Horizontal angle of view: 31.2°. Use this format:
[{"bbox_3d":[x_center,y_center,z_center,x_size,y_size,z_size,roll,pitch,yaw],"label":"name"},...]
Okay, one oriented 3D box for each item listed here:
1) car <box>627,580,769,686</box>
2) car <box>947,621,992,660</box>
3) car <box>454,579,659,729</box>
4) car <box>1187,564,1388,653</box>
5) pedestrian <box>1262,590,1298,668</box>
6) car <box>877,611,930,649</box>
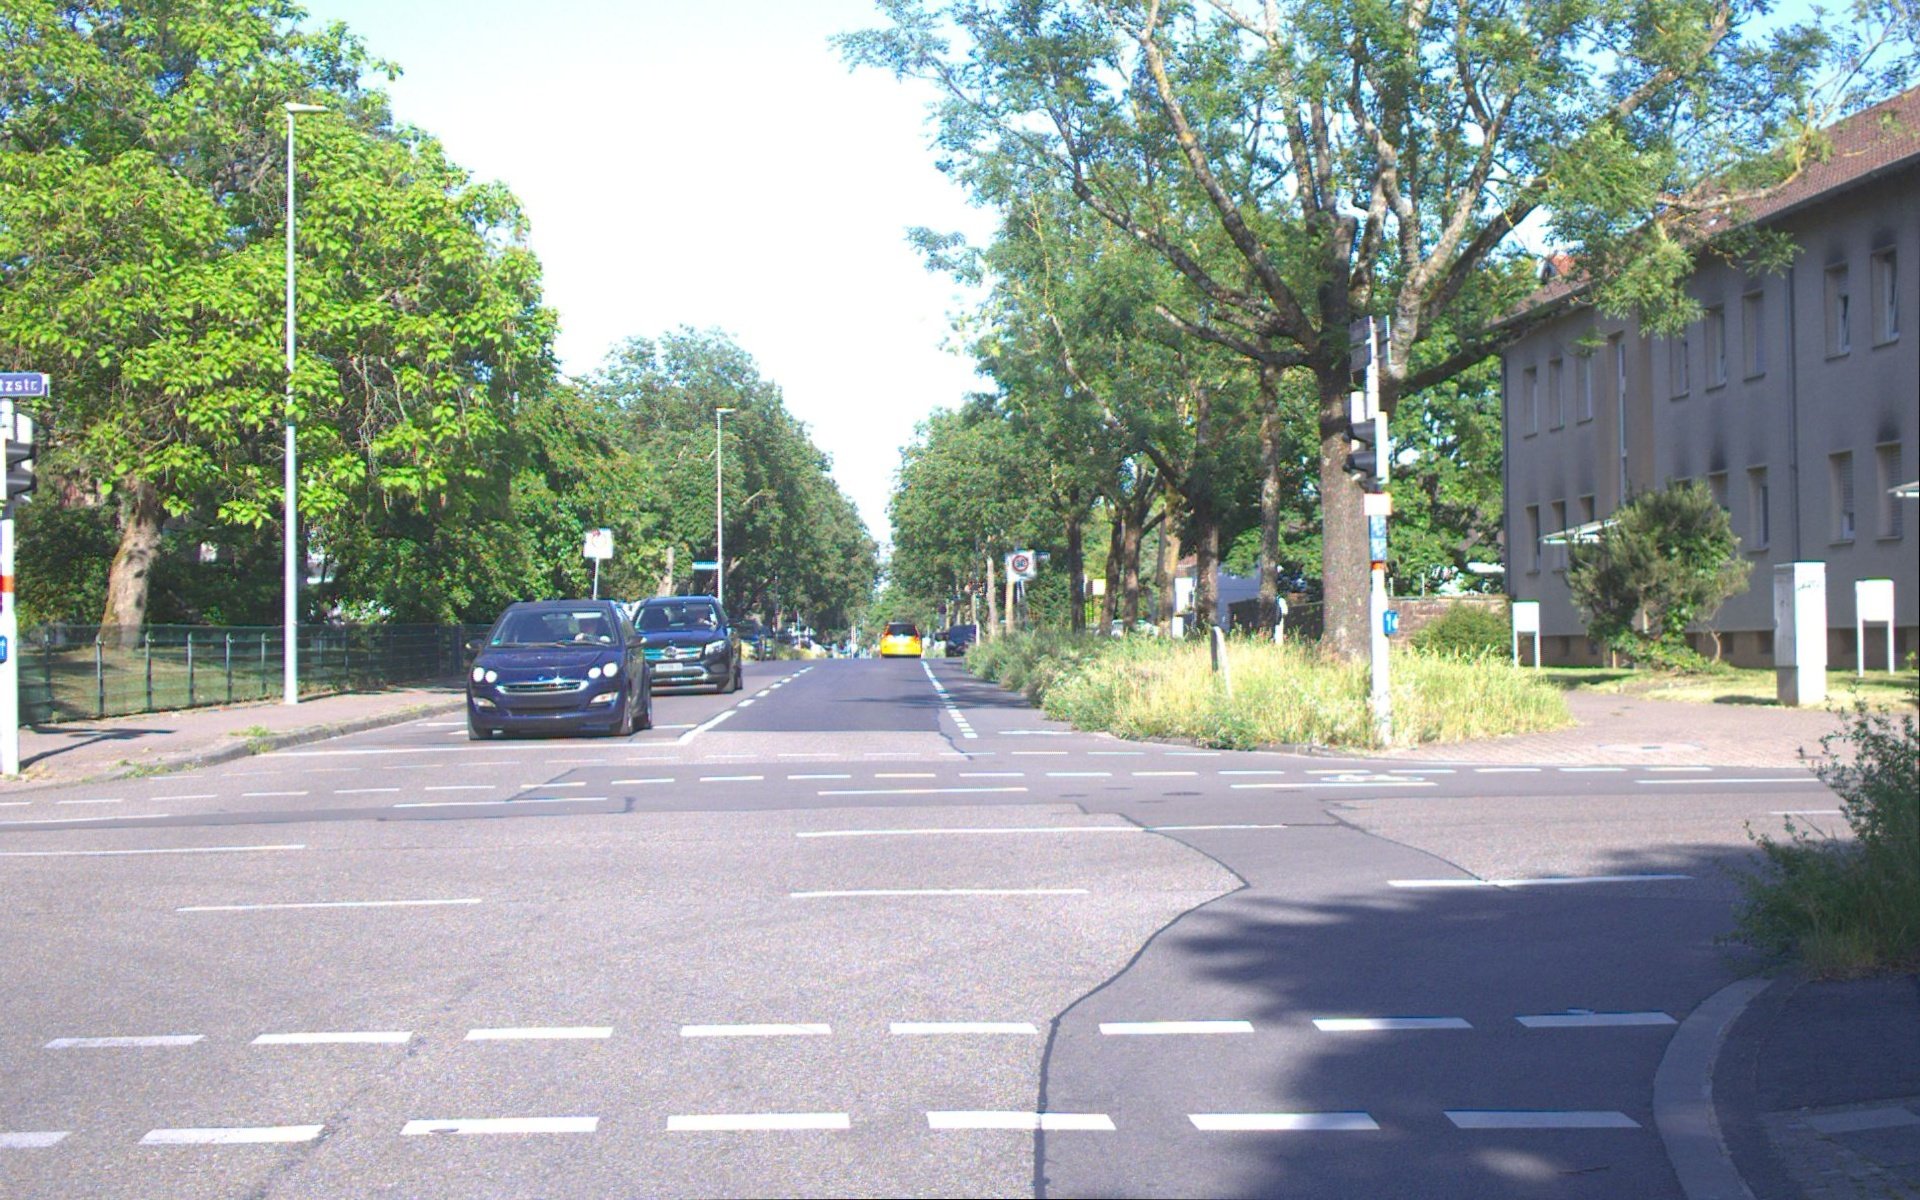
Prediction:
[{"bbox_3d":[-4.285,0.515,56.797,1.815,1.612,4.392,-2,0,2],"label":"car"},{"bbox_3d":[0.406,1.803,153.106,1.853,1.620,4.469,-2,-2,-1],"label":"car"},{"bbox_3d":[-4.227,0.579,36.529,1.806,1.450,3.850,-2,-1,-2],"label":"car"},{"bbox_3d":[9.689,0.245,102.070,5.593,2.530,2.266,-1,0,-5],"label":"car"},{"bbox_3d":[7.188,0.648,77.211,0.637,1.700,0.612,-3,1,-2],"label":"pedestrian"},{"bbox_3d":[-2.331,1.247,139.974,1.887,1.474,3.888,2,-1,-4],"label":"car"}]
